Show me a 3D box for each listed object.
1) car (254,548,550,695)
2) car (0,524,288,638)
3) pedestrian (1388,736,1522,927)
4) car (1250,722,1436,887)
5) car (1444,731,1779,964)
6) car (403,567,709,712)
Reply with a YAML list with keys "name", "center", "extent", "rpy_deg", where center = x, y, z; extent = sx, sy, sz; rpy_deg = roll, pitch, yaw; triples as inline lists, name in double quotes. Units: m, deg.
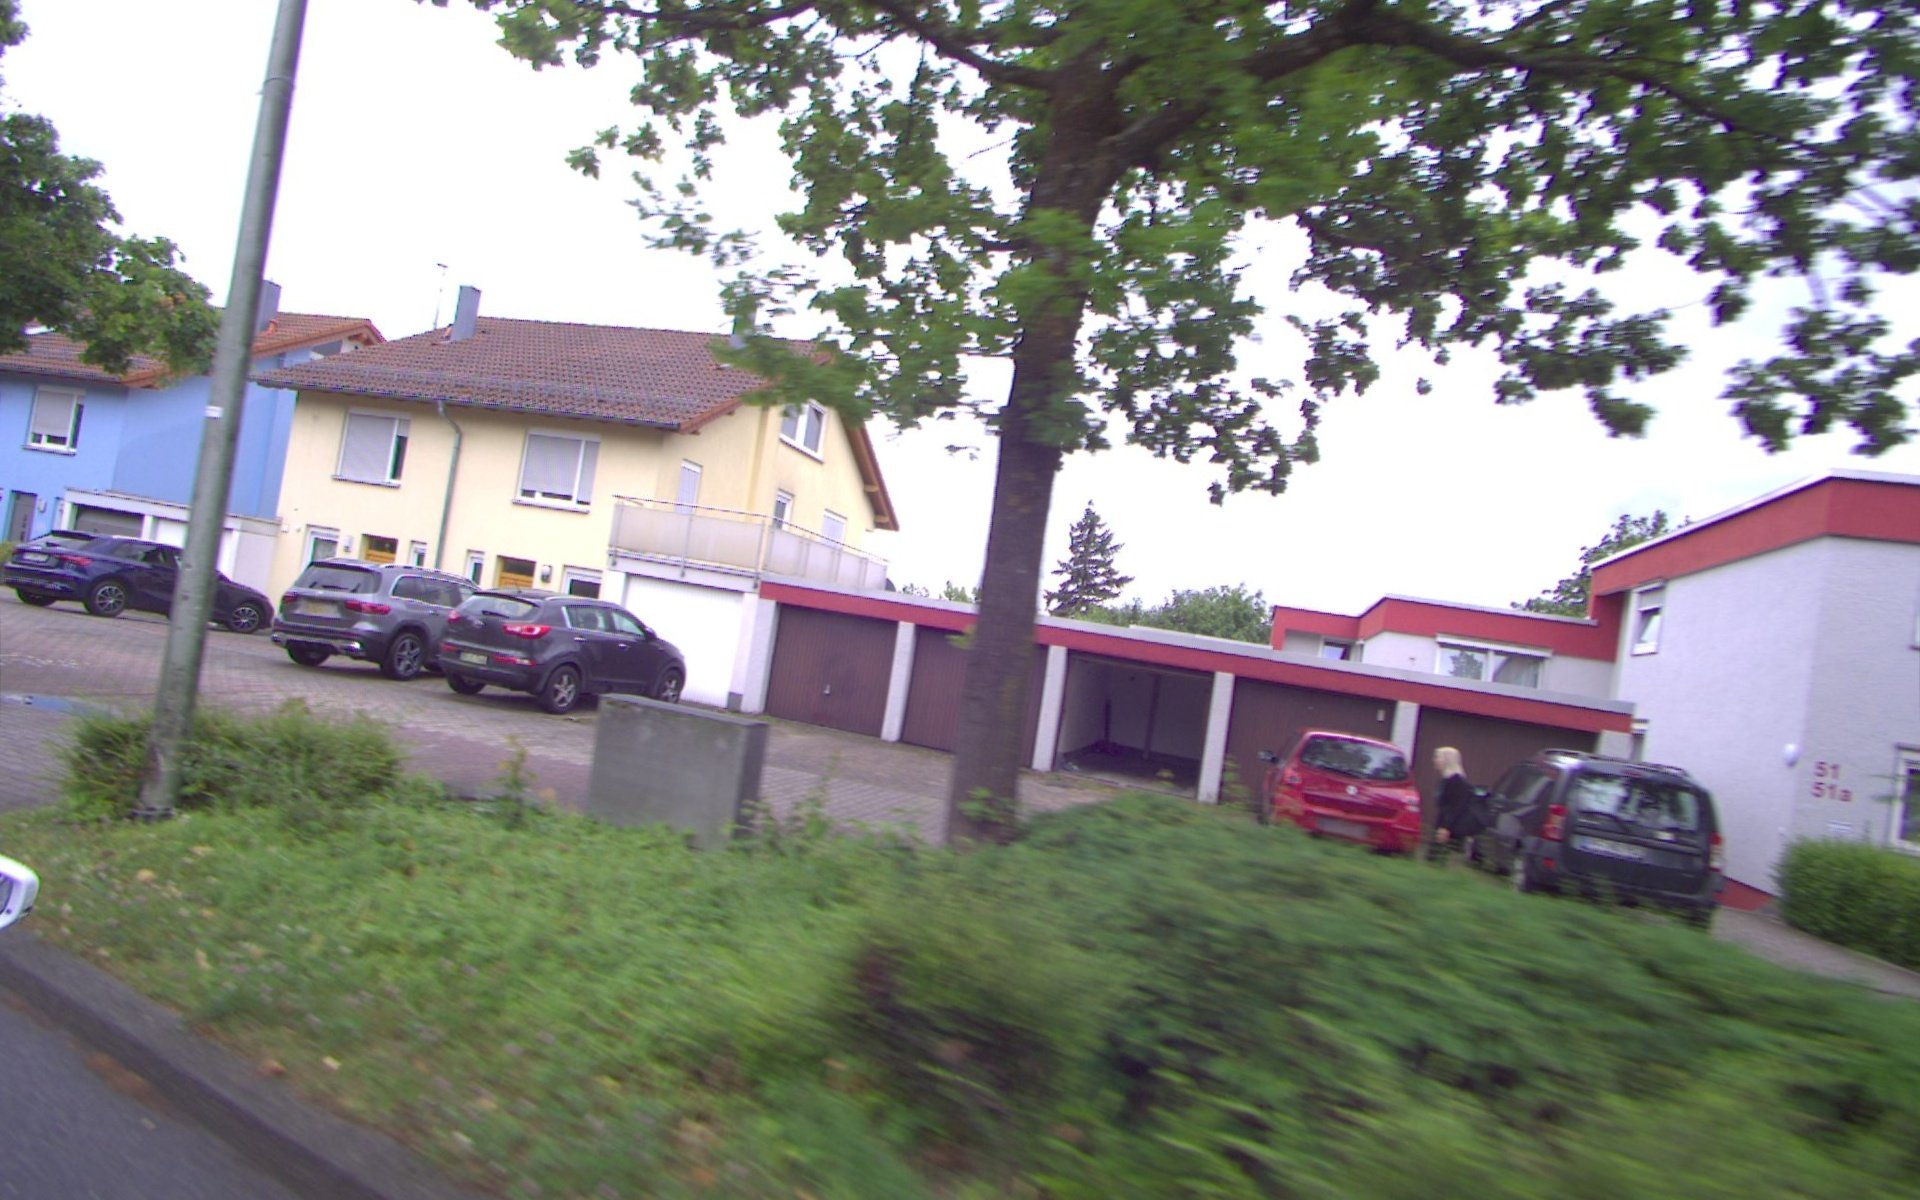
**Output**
- name: "car"
  center: [-8.681, 0.476, 16.176]
  extent: [1.689, 1.687, 4.207]
  rpy_deg: [8, -6, 10]
- name: "car"
  center: [-14.916, -0.256, 18.523]
  extent: [1.643, 1.401, 4.009]
  rpy_deg: [8, -4, 15]
- name: "pedestrian"
  center: [4.667, 2.151, 9.541]
  extent: [0.826, 1.574, 0.667]
  rpy_deg: [8, -3, 12]
- name: "car"
  center: [4.698, 2.437, 12.810]
  extent: [1.674, 1.457, 3.712]
  rpy_deg: [8, -4, 15]
- name: "car"
  center: [7.052, 2.555, 11.435]
  extent: [1.888, 1.739, 4.008]
  rpy_deg: [8, -4, 15]
- name: "car"
  center: [-5.944, 0.733, 15.461]
  extent: [1.954, 1.689, 4.201]
  rpy_deg: [7, -4, 18]
